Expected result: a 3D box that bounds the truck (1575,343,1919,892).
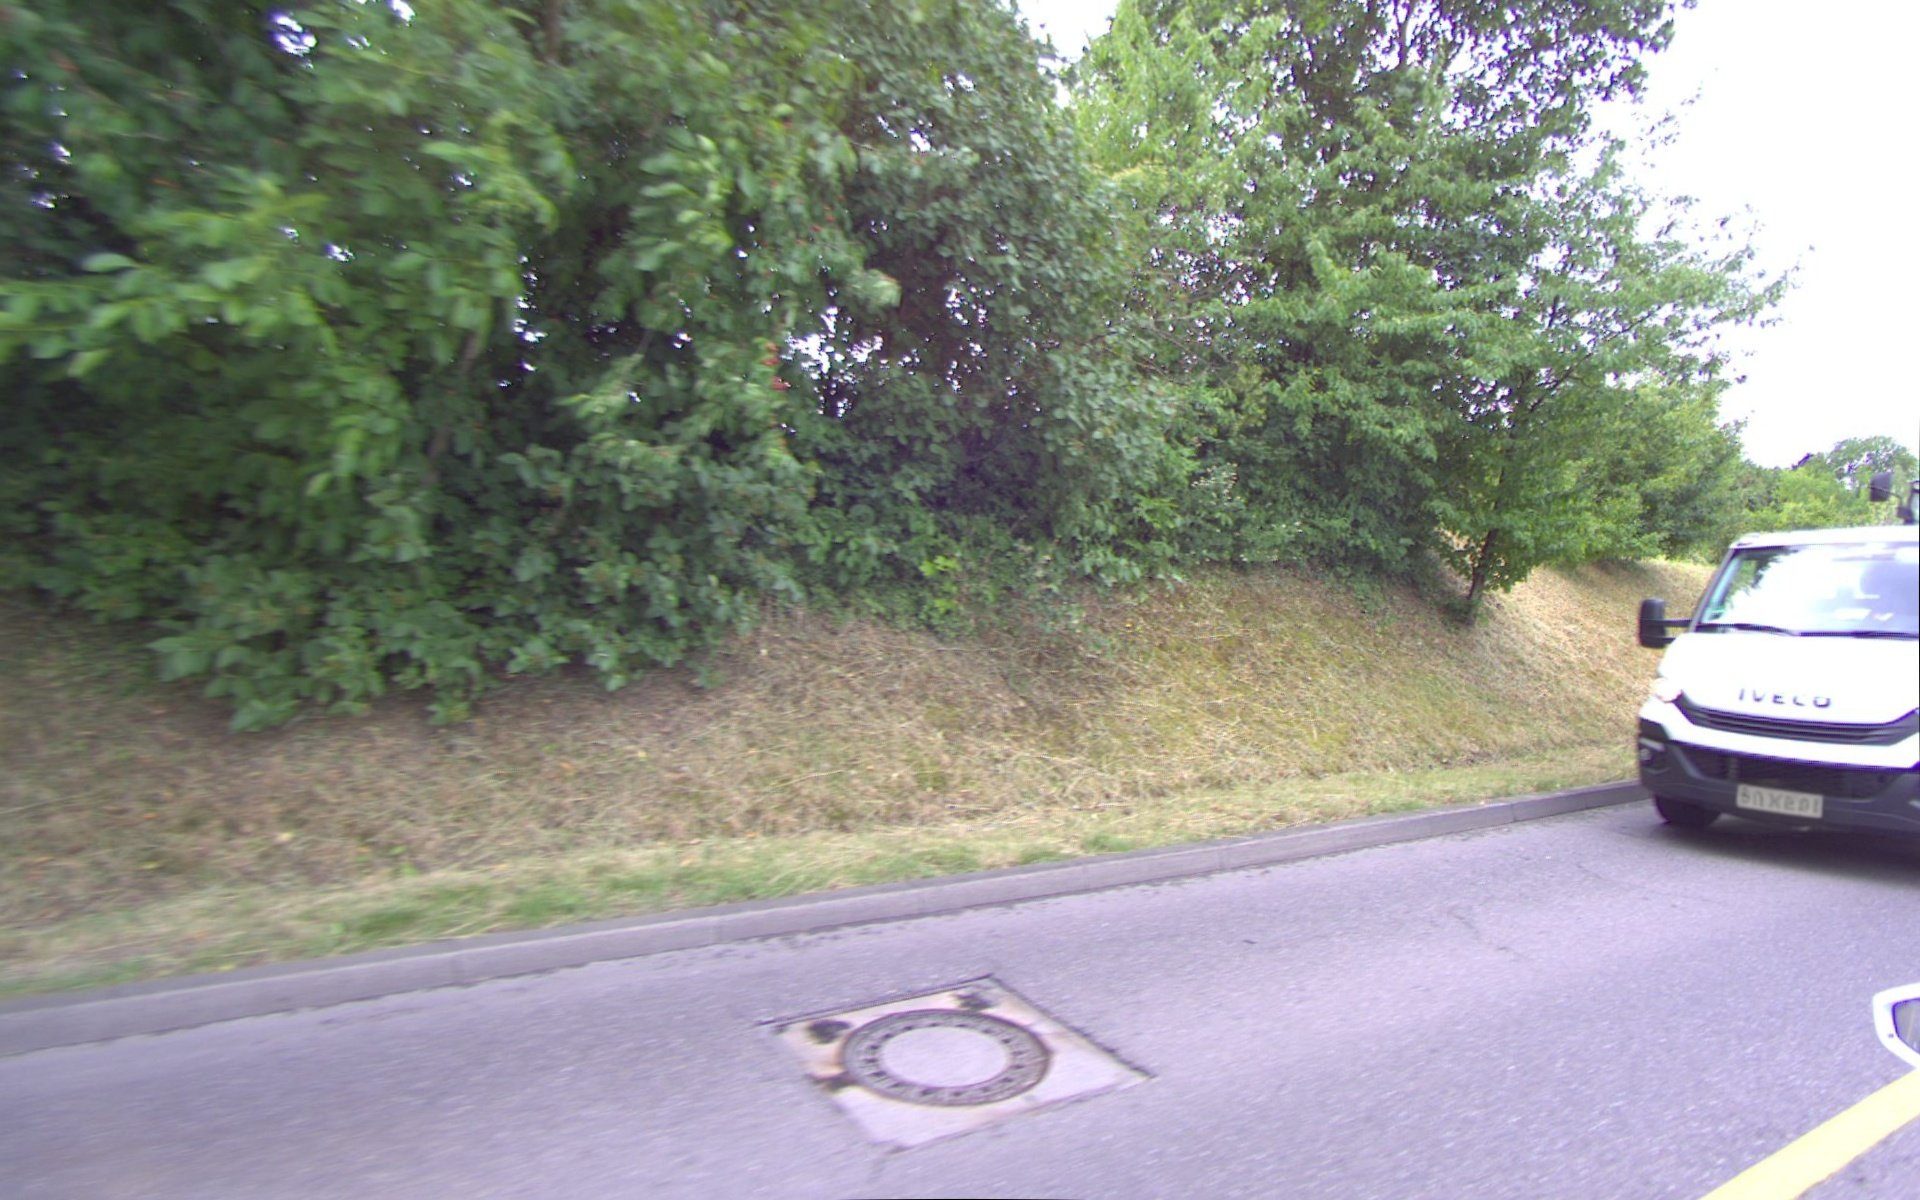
[{"bbox_3d":[8.245,0.153,8.195,7.650,3.055,2.204,1,0,-31],"label":"truck"}]
